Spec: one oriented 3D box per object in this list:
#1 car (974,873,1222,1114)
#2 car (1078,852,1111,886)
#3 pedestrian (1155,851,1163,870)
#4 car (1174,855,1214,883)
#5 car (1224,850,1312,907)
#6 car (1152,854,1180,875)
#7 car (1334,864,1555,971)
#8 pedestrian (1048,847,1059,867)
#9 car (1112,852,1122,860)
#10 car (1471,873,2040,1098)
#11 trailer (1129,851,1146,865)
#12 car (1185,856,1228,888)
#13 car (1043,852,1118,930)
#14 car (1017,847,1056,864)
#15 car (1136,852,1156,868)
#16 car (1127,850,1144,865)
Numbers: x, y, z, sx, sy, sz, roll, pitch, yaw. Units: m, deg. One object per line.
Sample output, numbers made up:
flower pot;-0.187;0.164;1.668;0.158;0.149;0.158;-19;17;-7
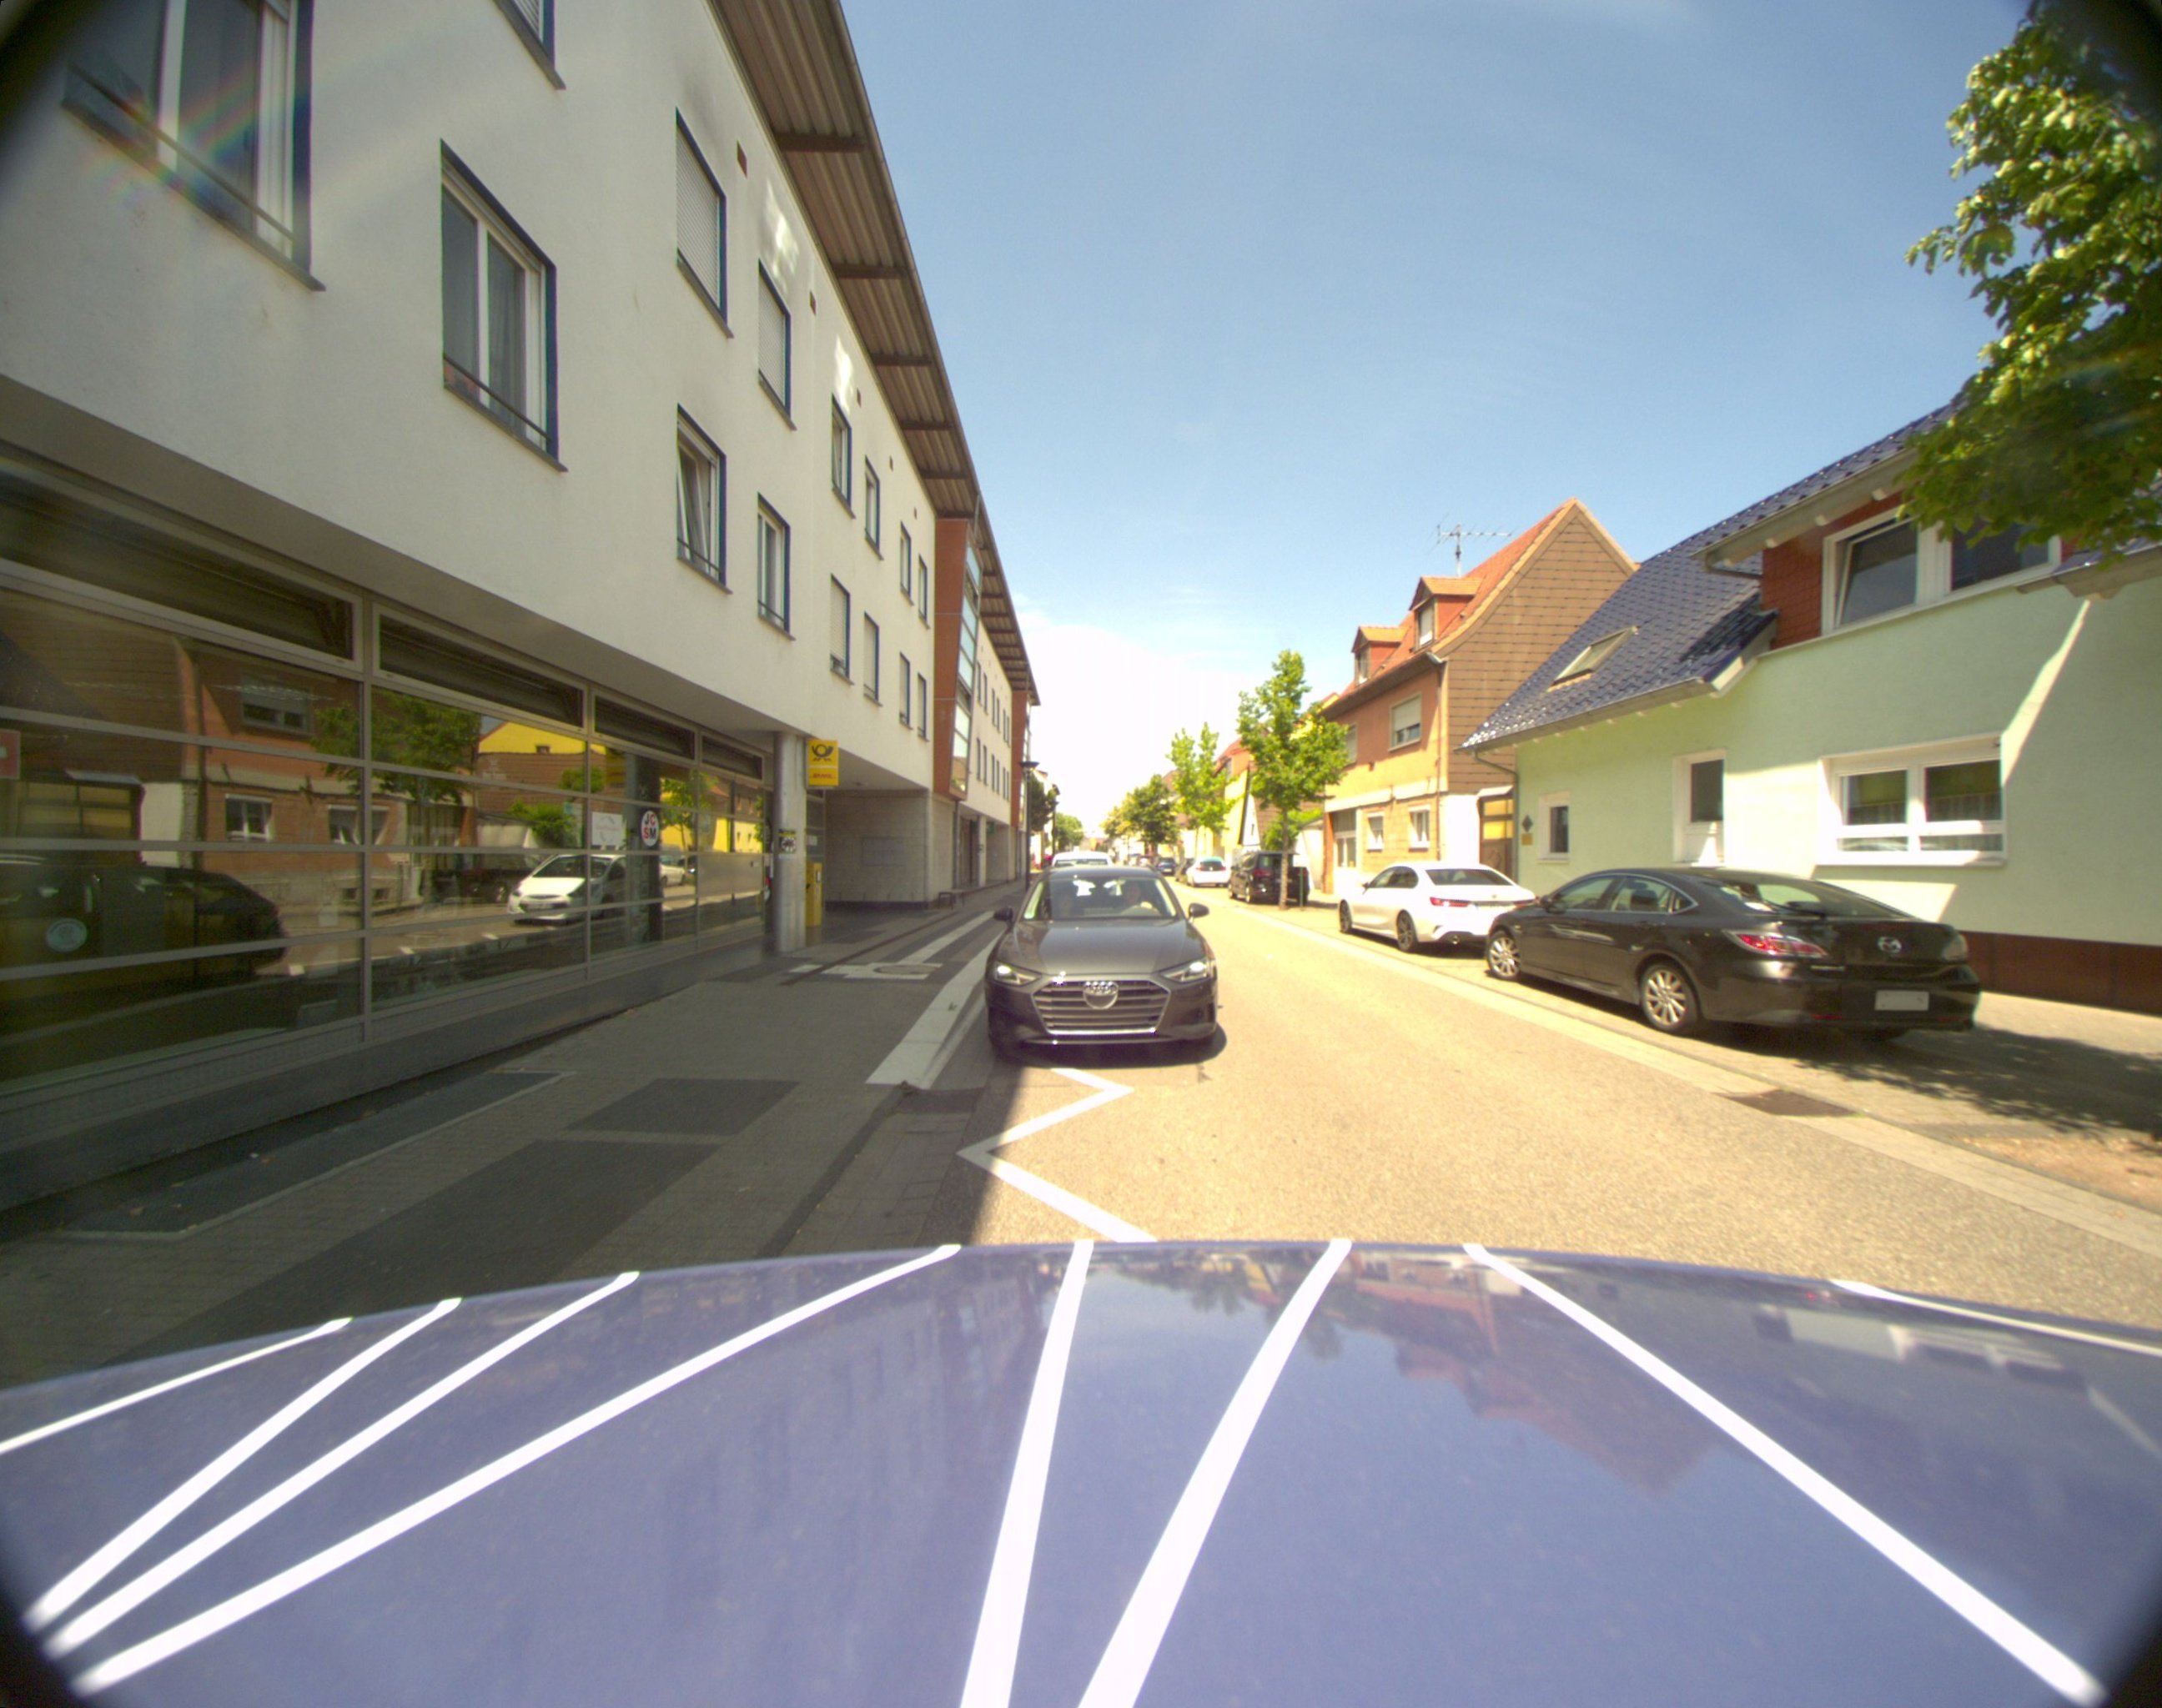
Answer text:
car;0.118;0.961;6.987;1.581;1.424;4.065;-2;0;0
car;0.669;0.718;38.923;1.581;1.620;4.065;1;0;0
pedestrian;6.546;0.563;63.780;0.631;1.592;0.528;0;1;1
car;6.374;0.825;43.093;1.649;1.422;4.098;1;0;1
car;6.061;0.733;25.133;1.780;1.716;4.519;0;0;0
car;6.194;0.747;55.782;1.660;1.399;4.158;0;0;1
car;5.912;0.940;13.052;1.724;1.428;4.459;1;0;1
pedestrian;-2.224;0.250;61.718;0.825;1.579;0.919;3;1;1
car;6.360;0.374;134.045;1.693;1.464;4.000;0;0;0
car;5.838;0.970;7.542;1.665;1.428;4.538;0;0;1
trailer;6.531;0.469;88.003;1.493;1.571;3.882;-2;0;-2
car;6.035;0.845;36.831;1.557;1.422;3.410;1;0;1
car;-0.007;0.782;18.329;1.581;1.620;4.064;1;1;0
car;-4.908;0.178;84.589;4.203;1.849;2.000;1;0;0
car;6.431;0.594;75.375;1.753;1.566;4.158;0;0;1
car;6.597;0.373;92.211;1.695;1.742;3.999;-2;0;-1
